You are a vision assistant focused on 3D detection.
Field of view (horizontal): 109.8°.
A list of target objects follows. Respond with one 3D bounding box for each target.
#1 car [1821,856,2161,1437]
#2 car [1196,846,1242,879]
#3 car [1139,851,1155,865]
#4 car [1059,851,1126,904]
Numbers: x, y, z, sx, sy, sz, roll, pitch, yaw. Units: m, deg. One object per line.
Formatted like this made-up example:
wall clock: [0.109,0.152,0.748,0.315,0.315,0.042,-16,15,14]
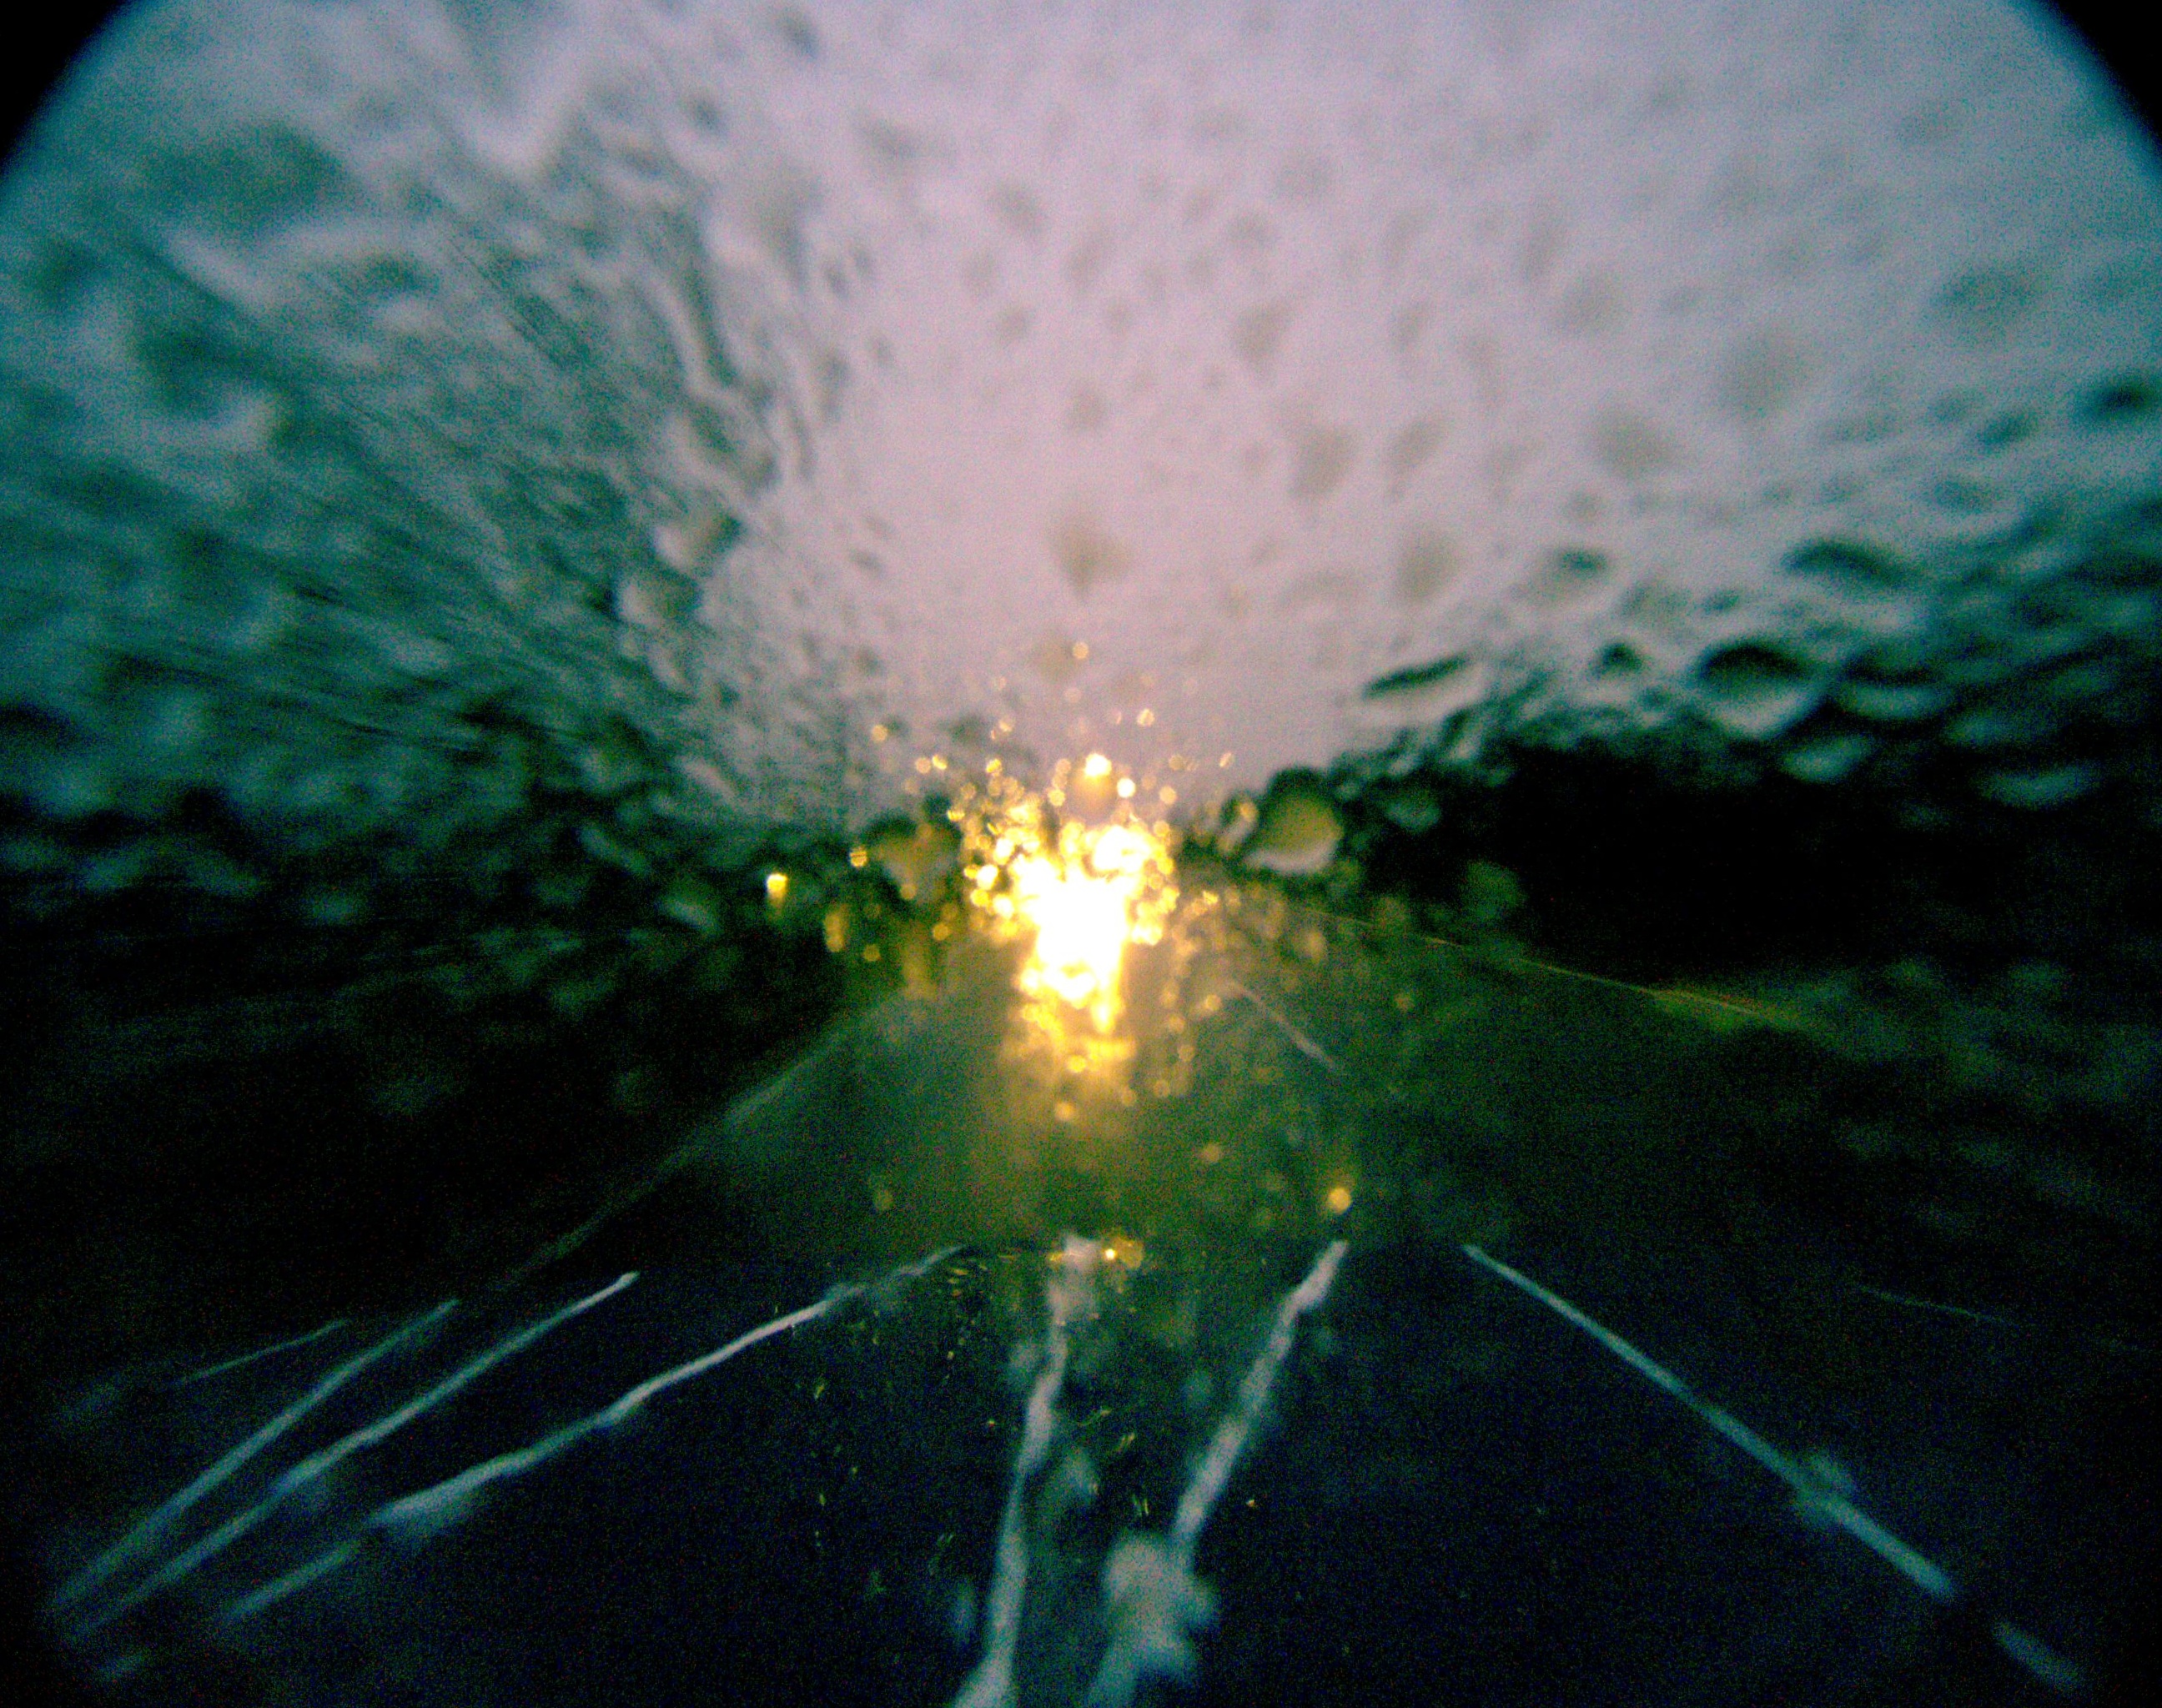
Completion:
car: [3.740,0.800,0.929,1.695,1.521,4.085,-2,0,1]
car: [7.994,0.439,44.341,1.998,1.774,4.000,-2,0,2]
car: [8.077,0.470,92.807,1.780,1.599,3.773,0,1,2]
car: [0.475,0.751,26.276,1.998,1.601,4.001,-2,0,4]
